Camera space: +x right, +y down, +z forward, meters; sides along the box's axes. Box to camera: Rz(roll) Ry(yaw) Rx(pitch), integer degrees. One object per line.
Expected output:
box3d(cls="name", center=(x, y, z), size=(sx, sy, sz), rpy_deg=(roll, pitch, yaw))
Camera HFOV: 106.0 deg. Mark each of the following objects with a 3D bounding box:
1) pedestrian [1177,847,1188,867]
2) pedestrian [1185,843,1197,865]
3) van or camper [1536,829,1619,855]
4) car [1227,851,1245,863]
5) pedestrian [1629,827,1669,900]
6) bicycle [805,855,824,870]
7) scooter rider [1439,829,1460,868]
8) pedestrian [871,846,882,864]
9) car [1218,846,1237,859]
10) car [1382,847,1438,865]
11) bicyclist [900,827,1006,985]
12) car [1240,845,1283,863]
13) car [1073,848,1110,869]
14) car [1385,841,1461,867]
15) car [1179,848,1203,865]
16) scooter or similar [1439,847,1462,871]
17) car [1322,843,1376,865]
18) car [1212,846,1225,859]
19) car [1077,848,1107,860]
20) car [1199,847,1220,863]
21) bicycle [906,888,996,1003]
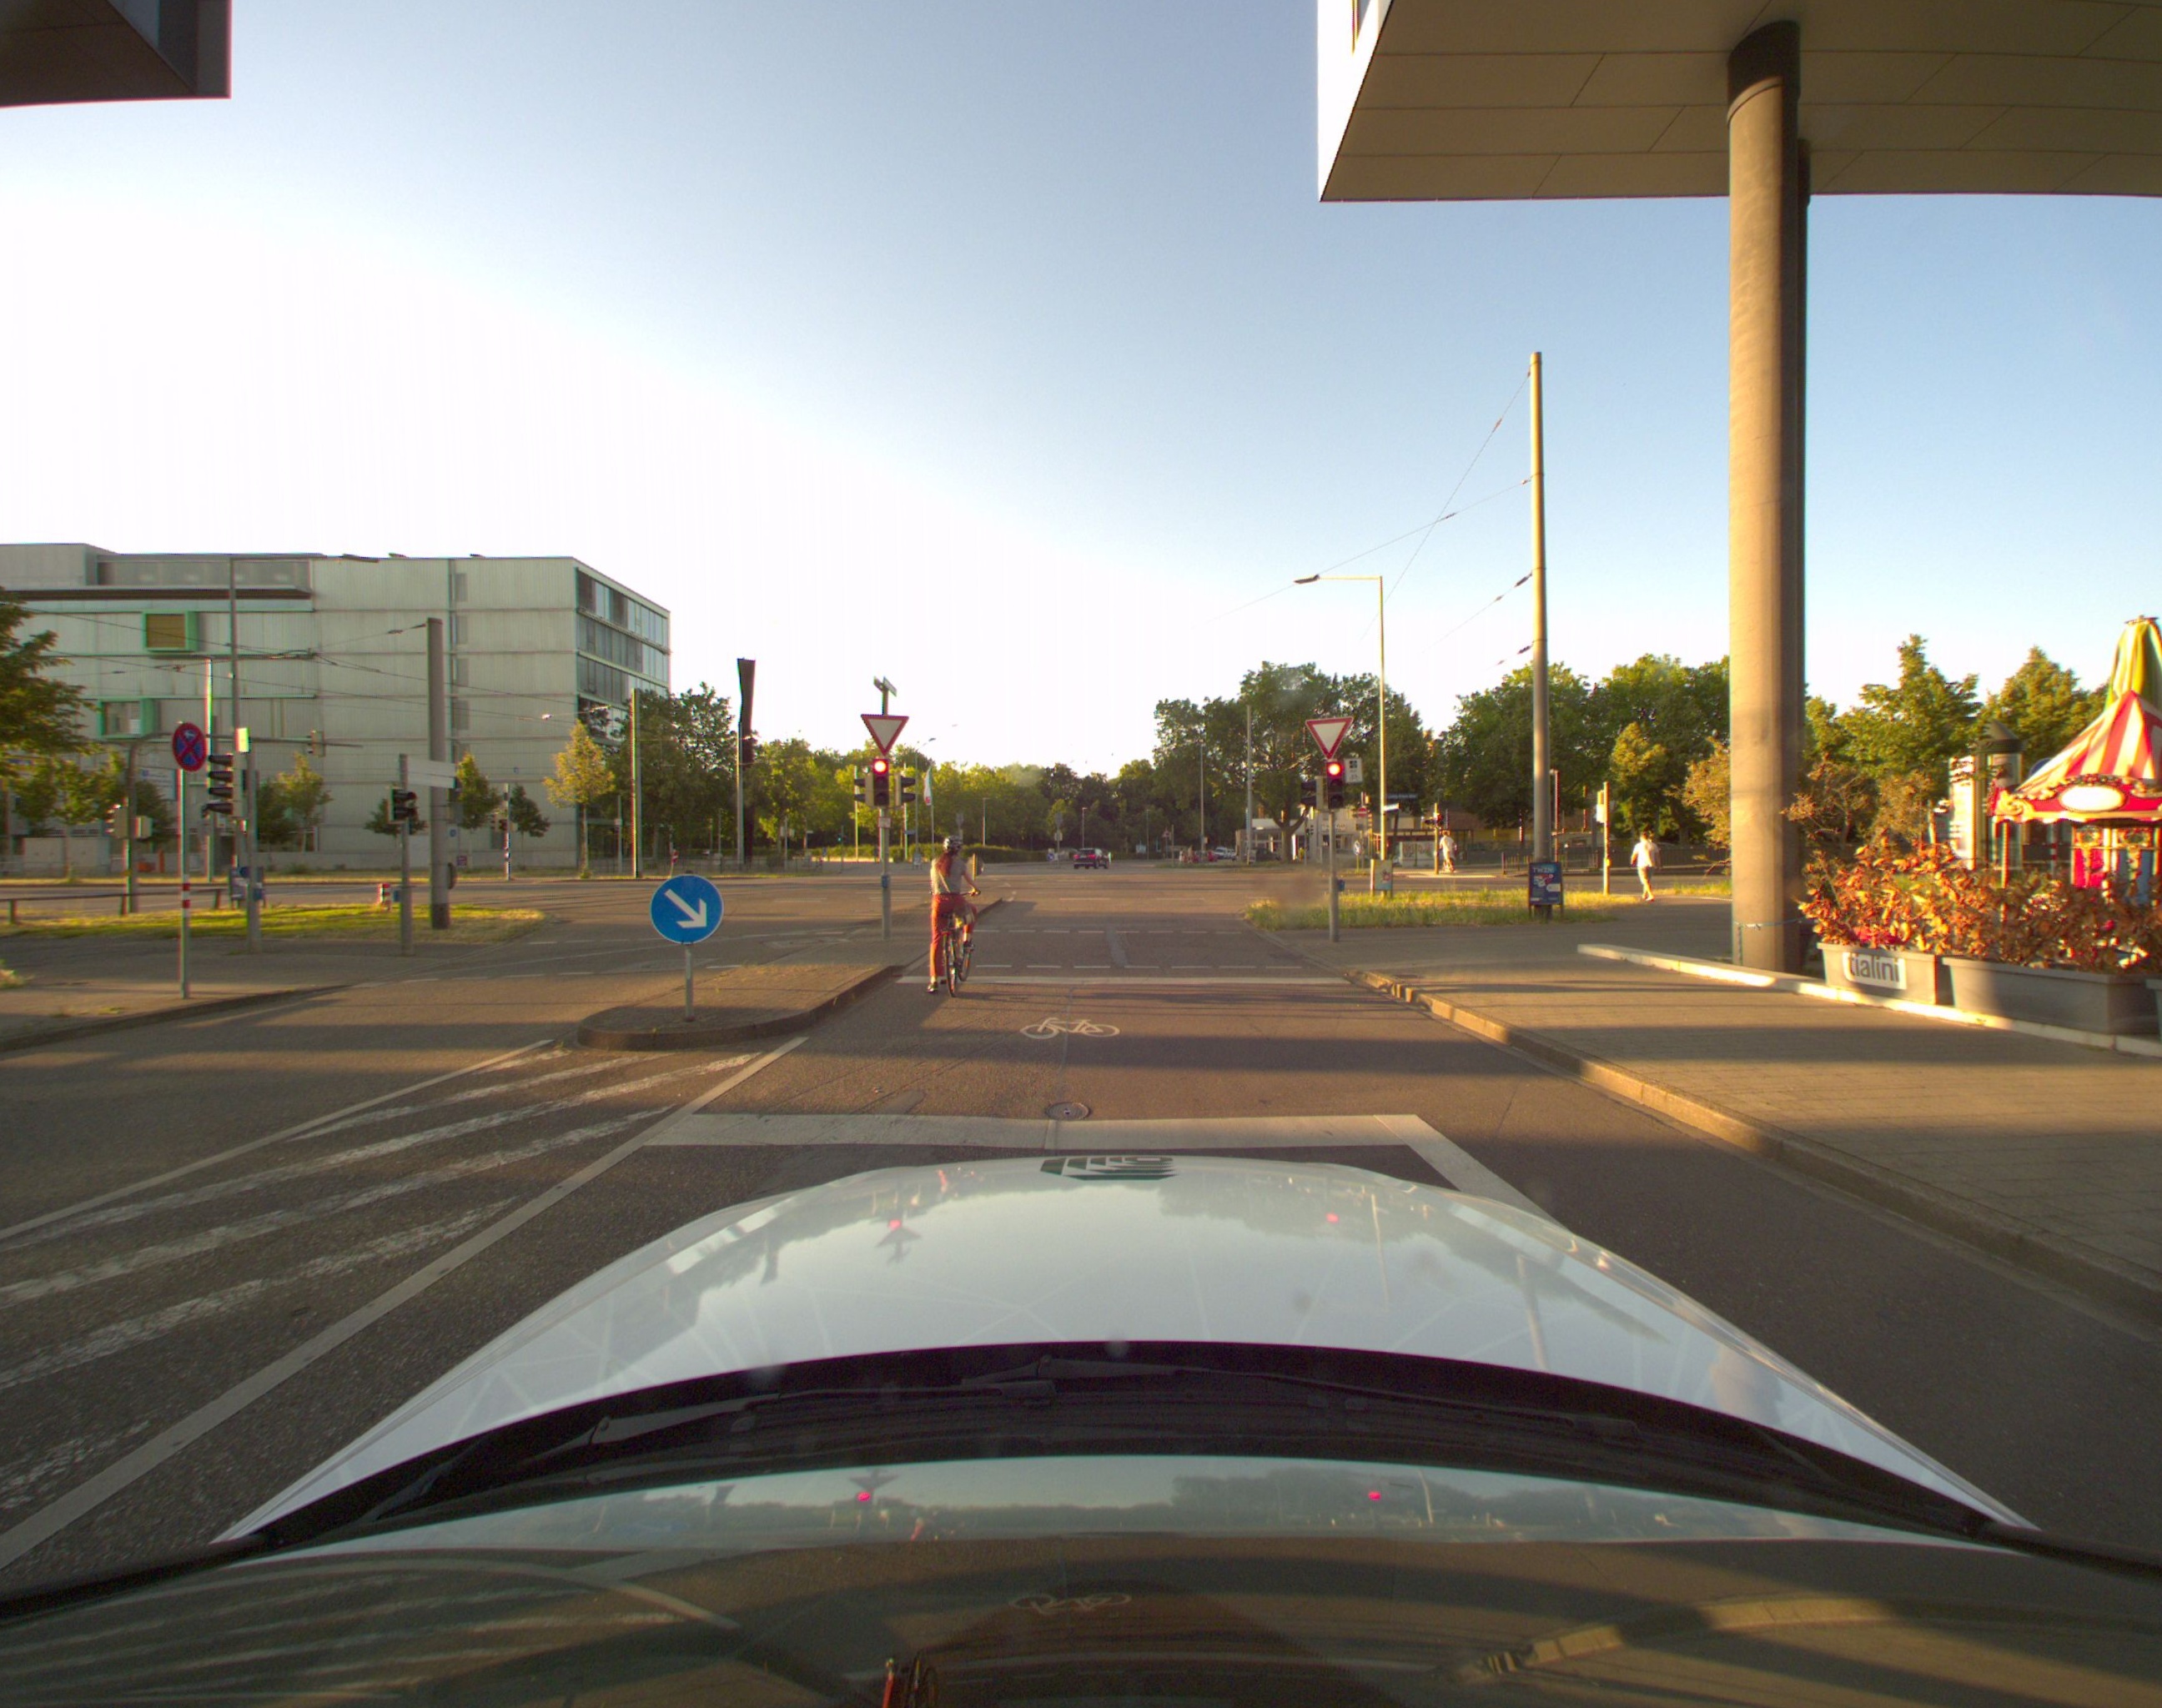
box3d(cls="pedestrian", center=(8.489, 0.235, 68.109), size=(0.712, 1.639, 0.903), rpy_deg=(-1, 0, 26))
box3d(cls="pedestrian", center=(9.123, -0.003, 67.398), size=(0.712, 1.754, 0.903), rpy_deg=(-1, 0, 26))
box3d(cls="van or camper", center=(47.947, -1.169, 78.727), size=(6.530, 2.410, 2.268), rpy_deg=(-1, 0, 6))
box3d(cls="car", center=(21.923, 0.394, 115.101), size=(1.899, 1.602, 4.020), rpy_deg=(0, 0, 20))
box3d(cls="pedestrian", center=(14.381, 0.233, 20.637), size=(0.754, 1.791, 0.807), rpy_deg=(-1, 0, 32))
box3d(cls="bicycle", center=(-20.731, 0.677, 63.364), size=(0.697, 1.136, 2.392), rpy_deg=(-1, 0, -1))
box3d(cls="scooter rider", center=(17.304, -0.253, 38.270), size=(0.699, 1.855, 0.669), rpy_deg=(0, -1, 1))
box3d(cls="pedestrian", center=(-19.824, 0.105, 78.854), size=(0.898, 1.754, 0.715), rpy_deg=(-1, 0, -24))
box3d(cls="car", center=(24.424, -0.297, 135.425), size=(1.975, 2.013, 4.024), rpy_deg=(-1, 0, 27))
box3d(cls="car", center=(28.987, 0.151, 71.892), size=(4.211, 1.577, 2.002), rpy_deg=(-1, 0, 4))
box3d(cls="bicyclist", center=(-1.451, 0.570, 9.425), size=(1.028, 1.717, 0.996), rpy_deg=(-1, 0, 1))
box3d(cls="car", center=(19.596, 0.015, 88.684), size=(4.354, 1.835, 1.952), rpy_deg=(-1, 0, 6))
box3d(cls="car", center=(0.835, 0.378, 62.888), size=(1.742, 1.541, 4.418), rpy_deg=(-1, -1, 15))
box3d(cls="car", center=(23.664, -0.017, 56.520), size=(4.523, 1.728, 1.860), rpy_deg=(-1, 0, -3))
box3d(cls="car", center=(12.934, 0.271, 95.585), size=(1.852, 1.874, 3.896), rpy_deg=(0, 0, 23))
box3d(cls="scooter or similar", center=(17.293, 0.214, 38.126), size=(0.508, 1.090, 1.243), rpy_deg=(-1, 0, 2))
box3d(cls="car", center=(23.668, -0.024, 72.084), size=(4.211, 1.846, 2.002), rpy_deg=(-1, 0, 4))
box3d(cls="car", center=(22.091, -0.317, 130.873), size=(1.982, 2.013, 4.010), rpy_deg=(-1, 0, 9))
box3d(cls="car", center=(1.499, -0.003, 109.691), size=(3.970, 1.561, 2.002), rpy_deg=(-1, 0, 3))
box3d(cls="car", center=(16.266, 0.096, 103.125), size=(1.899, 2.047, 4.020), rpy_deg=(0, 0, 20))
box3d(cls="bicycle", center=(-1.444, 0.982, 9.410), size=(0.632, 1.068, 2.123), rpy_deg=(-1, 0, 2))
